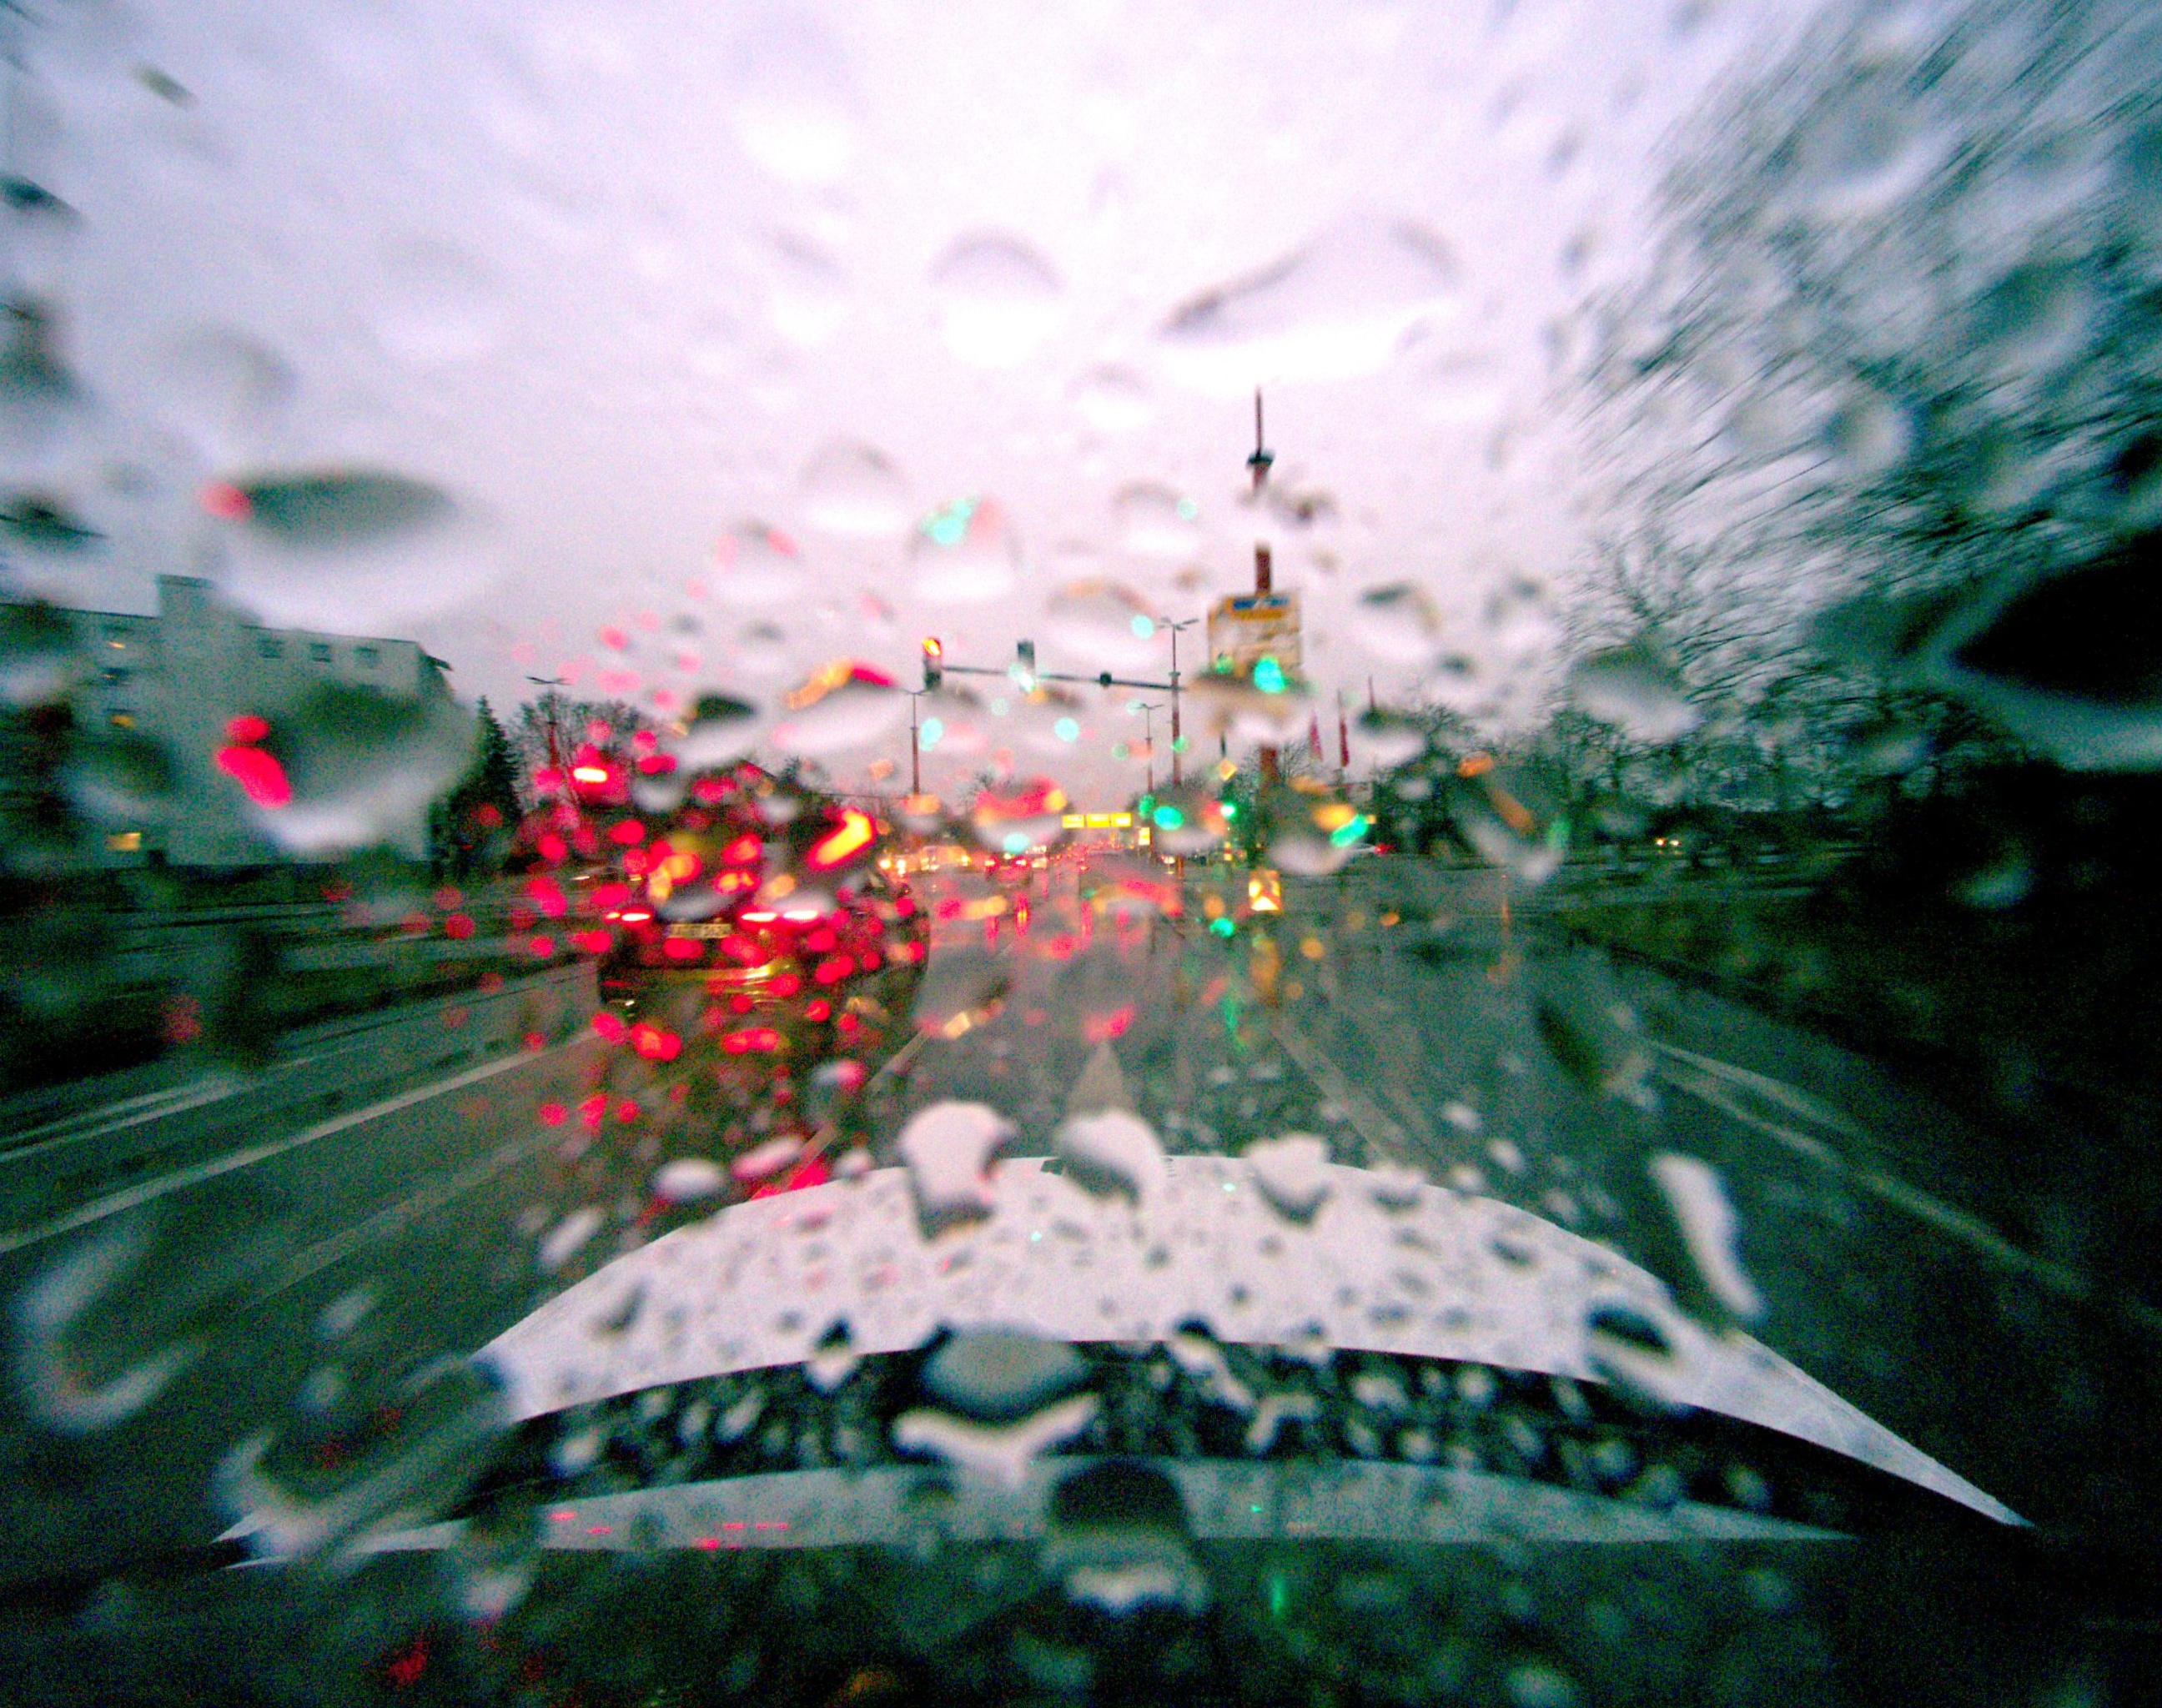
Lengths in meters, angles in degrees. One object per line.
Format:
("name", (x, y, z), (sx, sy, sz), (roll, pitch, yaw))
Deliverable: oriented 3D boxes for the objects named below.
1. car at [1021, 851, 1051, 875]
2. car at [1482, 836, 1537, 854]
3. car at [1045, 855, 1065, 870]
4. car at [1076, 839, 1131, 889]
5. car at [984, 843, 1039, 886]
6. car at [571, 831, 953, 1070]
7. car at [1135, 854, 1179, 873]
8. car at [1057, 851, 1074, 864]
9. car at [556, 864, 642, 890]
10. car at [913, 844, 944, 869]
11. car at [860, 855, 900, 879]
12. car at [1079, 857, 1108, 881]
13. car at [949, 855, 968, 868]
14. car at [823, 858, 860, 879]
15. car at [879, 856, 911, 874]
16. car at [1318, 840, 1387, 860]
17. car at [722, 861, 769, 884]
("car", (-3.259, 0.657, 59.512), (1.815, 1.648, 4.002), (-1, 0, 2))
("car", (34.263, -0.690, 65.075), (4.002, 1.309, 1.626), (-2, 0, -21))
("car", (-2.381, 0.772, 75.308), (1.499, 1.339, 4.002), (-1, 0, 2))
("car", (0.858, 0.347, 29.936), (1.815, 1.648, 4.469), (-2, 0, 2))
("car", (-2.890, 0.421, 34.637), (1.815, 1.648, 4.002), (-1, 0, 2))
("car", (-2.620, 0.682, 8.008), (1.815, 1.648, 4.469), (-1, 0, 2))
("car", (6.679, 0.822, 72.225), (1.943, 1.648, 4.429), (0, -1, -25))
("car", (-1.933, 0.433, 103.300), (1.815, 1.504, 4.002), (-1, 0, 2))
("car", (-32.269, 1.500, 54.595), (1.974, 1.529, 4.513), (-2, 0, 39))
("car", (-19.692, 0.341, 105.513), (2.282, 3.005, 7.352), (0, -1, 3))
("car", (-14.693, 0.928, 59.663), (1.851, 1.581, 4.079), (-2, 0, 0))
("car", (0.930, 1.020, 57.724), (1.986, 1.662, 4.001), (0, -1, 2))
("car", (-16.110, 1.032, 107.153), (1.764, 1.586, 4.034), (-2, 0, 1))
("car", (-17.603, 1.066, 60.036), (1.646, 1.420, 3.327), (-2, 0, 1))
("car", (-16.966, 0.967, 74.485), (1.764, 1.533, 4.526), (-2, 0, 1))
("car", (20.804, -0.275, 62.548), (4.719, 1.376, 1.884), (-1, 0, 3))
("car", (-24.177, 1.327, 58.778), (1.612, 1.495, 4.018), (-2, 0, 1))
